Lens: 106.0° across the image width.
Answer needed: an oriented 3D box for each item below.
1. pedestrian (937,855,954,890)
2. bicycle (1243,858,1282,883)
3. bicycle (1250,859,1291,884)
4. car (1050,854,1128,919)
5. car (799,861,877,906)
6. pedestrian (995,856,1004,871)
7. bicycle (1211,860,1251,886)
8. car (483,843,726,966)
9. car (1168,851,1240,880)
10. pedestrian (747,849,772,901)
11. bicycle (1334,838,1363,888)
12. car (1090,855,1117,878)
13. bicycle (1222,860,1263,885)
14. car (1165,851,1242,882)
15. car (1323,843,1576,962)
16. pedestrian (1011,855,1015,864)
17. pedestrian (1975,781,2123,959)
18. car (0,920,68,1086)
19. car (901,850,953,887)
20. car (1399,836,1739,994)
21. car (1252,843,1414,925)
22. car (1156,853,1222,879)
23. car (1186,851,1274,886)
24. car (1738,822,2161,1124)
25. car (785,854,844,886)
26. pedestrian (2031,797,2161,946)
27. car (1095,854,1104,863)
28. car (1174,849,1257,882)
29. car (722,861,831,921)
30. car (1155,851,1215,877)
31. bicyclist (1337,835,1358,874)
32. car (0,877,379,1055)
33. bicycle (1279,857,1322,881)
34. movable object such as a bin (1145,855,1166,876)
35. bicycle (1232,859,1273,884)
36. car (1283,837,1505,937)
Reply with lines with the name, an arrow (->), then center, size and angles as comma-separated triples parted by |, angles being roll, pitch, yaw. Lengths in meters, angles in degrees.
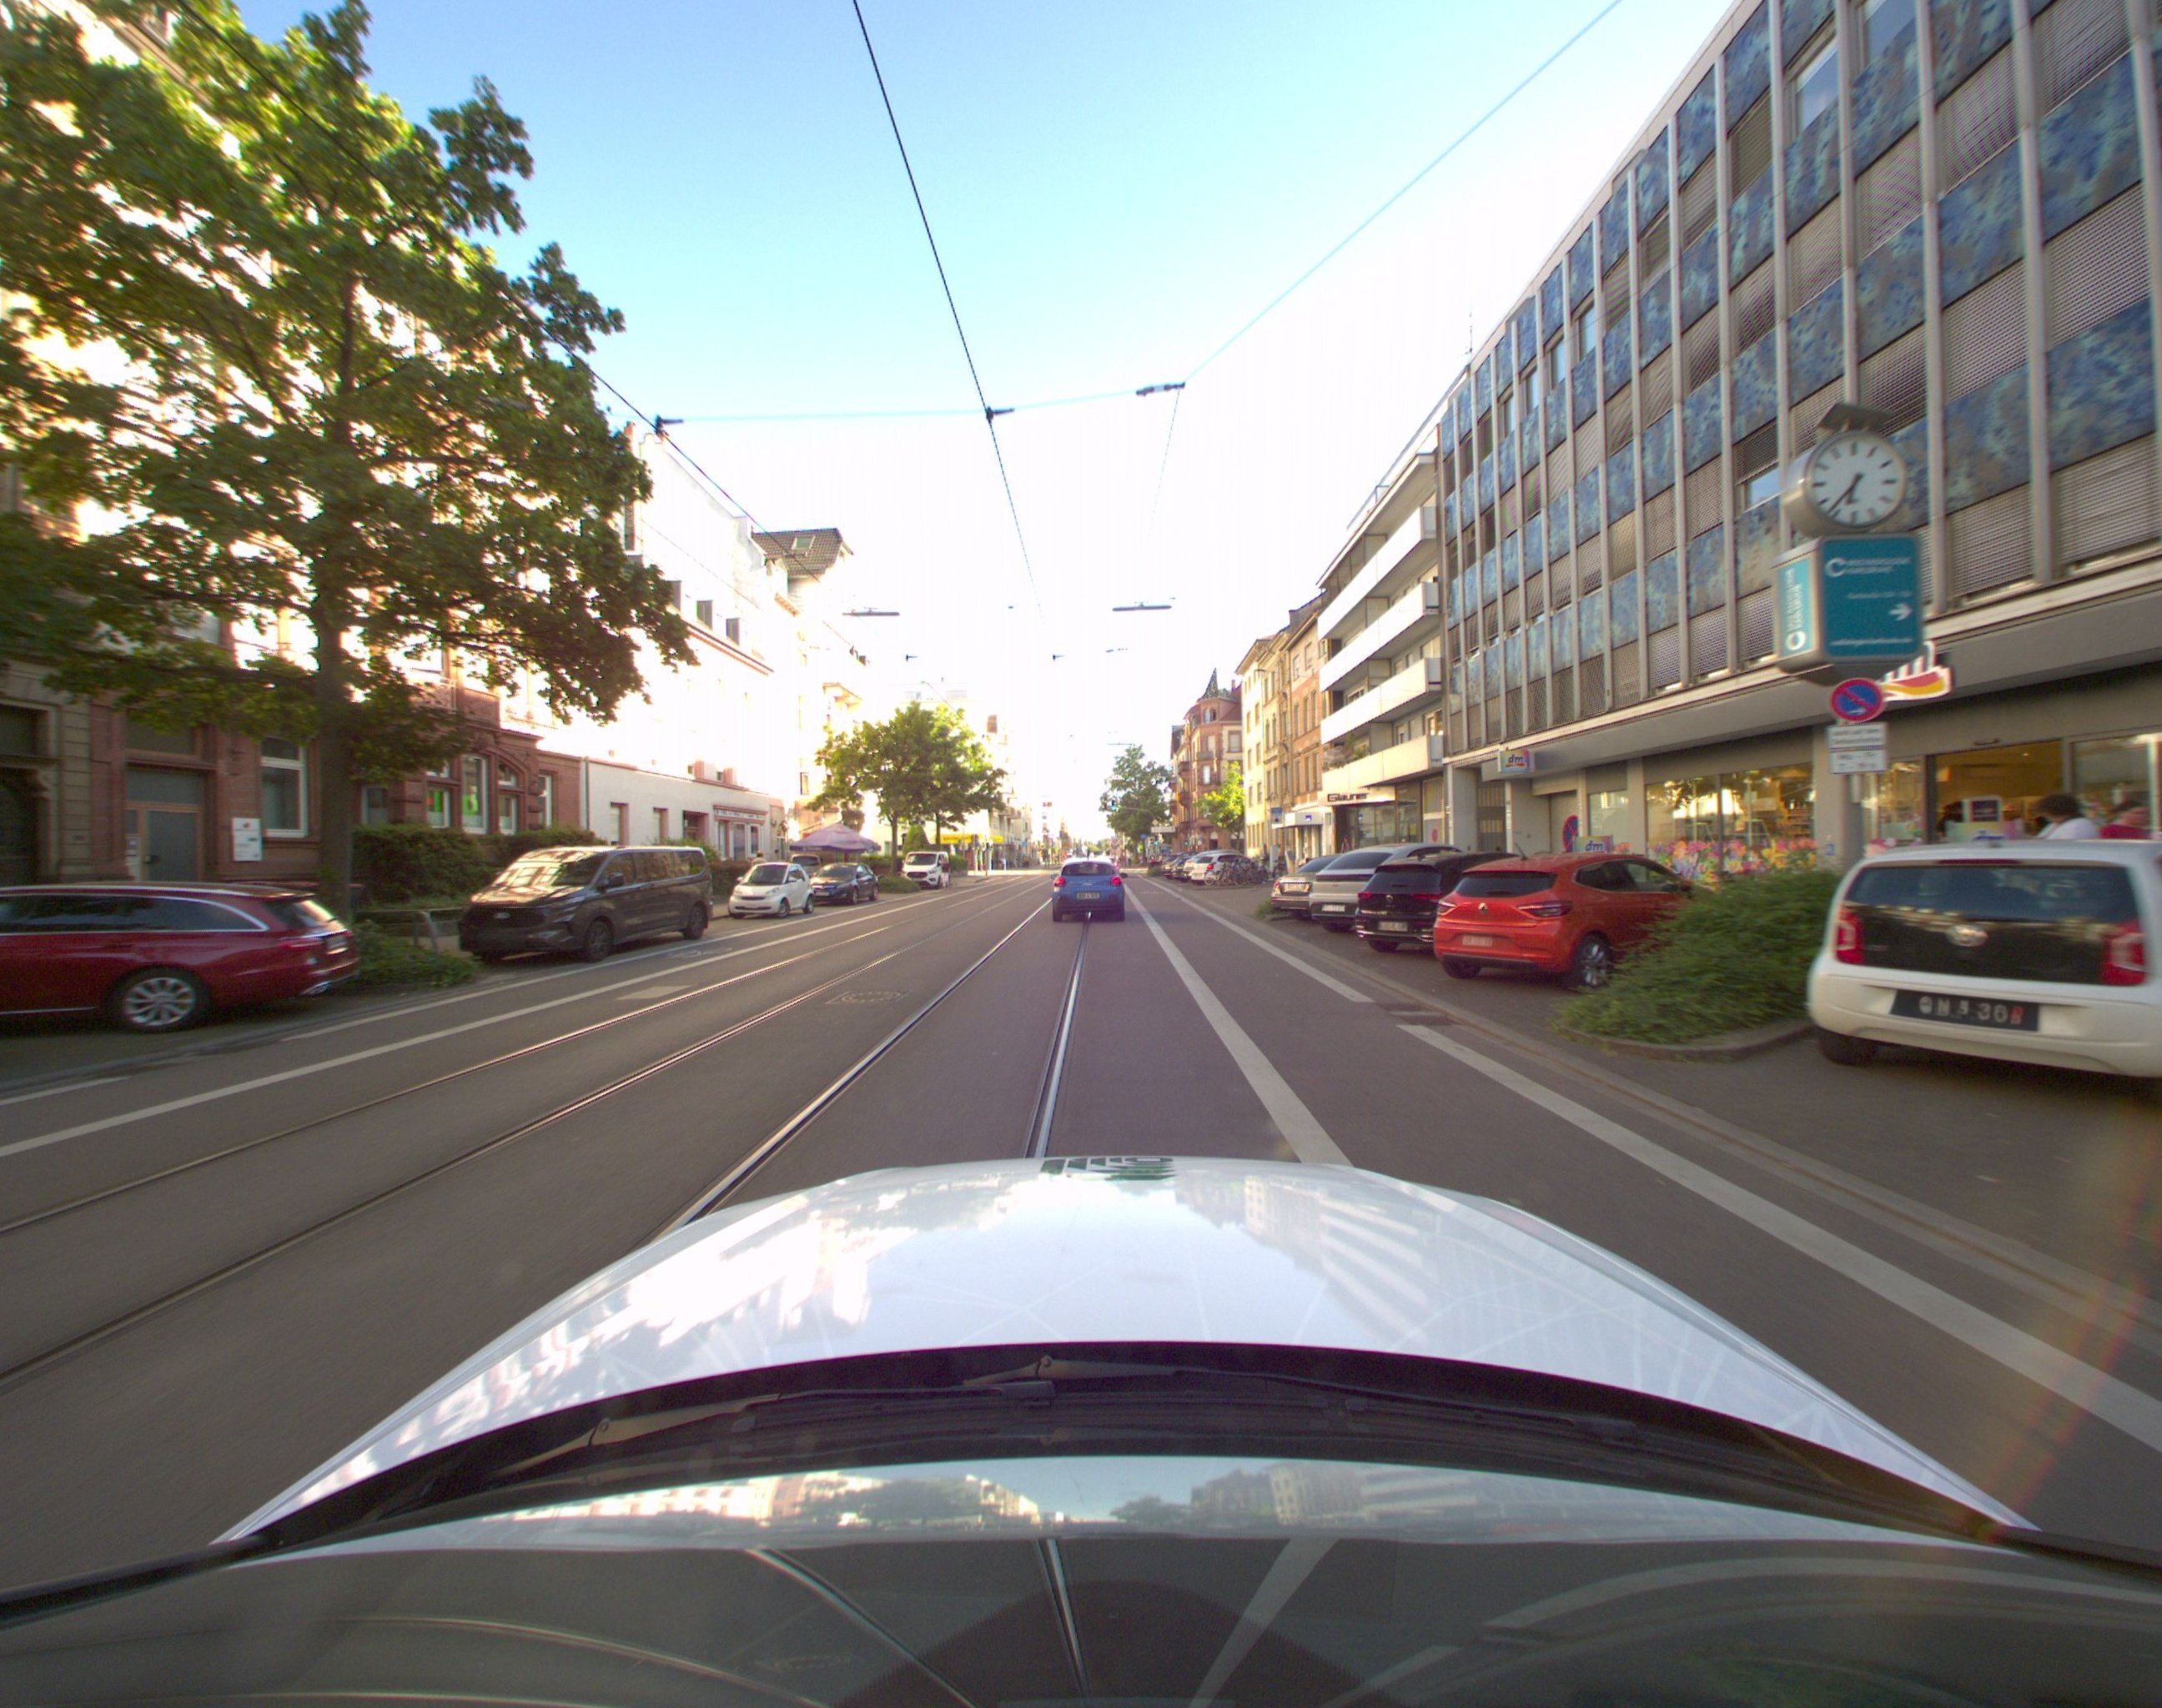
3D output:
pedestrian -> -6.906, 0.932, 41.403 | 0.732, 1.726, 0.623 | 0, -1, -23
bicycle -> 7.741, 0.704, 34.877 | 0.471, 1.047, 1.788 | 0, -1, -34
bicycle -> 8.200, 0.759, 35.291 | 0.557, 1.048, 1.787 | 0, -1, -37
car -> 0.222, 0.752, 20.238 | 1.756, 1.441, 3.557 | -1, 0, 1
car -> -8.644, 0.999, 29.324 | 1.743, 1.487, 4.038 | -1, 0, -3
pedestrian -> -9.590, 1.122, 95.554 | 0.942, 1.751, 0.699 | -1, -1, -3
bicycle -> 6.223, 0.783, 33.839 | 0.557, 1.047, 1.789 | 0, -1, -34
car -> -8.871, 0.836, 15.836 | 1.742, 1.973, 5.237 | -1, 0, -2
car -> 7.074, 0.638, 46.937 | 3.664, 1.574, 1.849 | 0, -1, -18
pedestrian -> -11.440, 0.752, 28.993 | 0.622, 1.824, 0.660 | -1, -1, 1
bicycle -> 11.324, 0.378, 34.579 | 0.724, 2.014, 2.363 | -1, -1, 7
car -> 1.627, 0.871, 57.838 | 1.866, 1.596, 4.002 | -1, 0, 2
bicycle -> 6.759, 0.766, 34.187 | 0.557, 1.047, 1.789 | 0, -1, -34
car -> 6.591, 0.651, 43.968 | 3.664, 1.574, 1.849 | 0, -1, -18
car -> 5.561, 0.631, 12.270 | 3.463, 1.555, 1.806 | 0, -1, -30
pedestrian -> -9.712, 0.800, 116.304 | 0.384, 1.216, 0.433 | -1, 0, -36
pedestrian -> 9.984, 0.160, 8.423 | 0.690, 1.756, 0.678 | -1, -1, 1
car -> -10.278, 1.211, 5.625 | 3.815, 1.265, 1.504 | 0, -1, -24
car -> -8.180, 0.738, 43.588 | 1.825, 1.848, 4.215 | -1, 0, 2
car -> 5.814, 0.590, 9.652 | 3.743, 1.521, 1.949 | 0, -1, -32
car -> 5.641, 0.610, 18.136 | 3.467, 1.640, 1.666 | 0, -1, -35
car -> 6.729, 0.756, 50.641 | 3.664, 1.534, 1.778 | 0, -1, -18
car -> 6.927, 0.645, 37.813 | 3.674, 1.574, 1.844 | 0, -1, -27
car -> 6.607, 0.588, 5.672 | 3.796, 1.487, 1.822 | 0, -1, -28
car -> -12.862, 0.739, 39.515 | 1.628, 1.469, 3.528 | -1, 0, 2
pedestrian -> 11.324, 0.186, 9.063 | 0.690, 1.588, 0.678 | -1, -1, 1
car -> 3.034, 0.739, 135.147 | 1.417, 1.432, 3.140 | -1, 0, 2
car -> 6.757, 0.576, 40.959 | 3.664, 1.574, 1.849 | 0, -1, -18
car -> -9.055, 1.045, 24.611 | 1.742, 1.618, 4.408 | -1, 0, -2
car -> 7.107, 0.705, 55.802 | 3.664, 1.715, 1.778 | 0, -1, -18
bicyclist -> 11.309, 0.031, 34.546 | 0.728, 1.623, 0.529 | -1, -1, 7
car -> -10.229, 1.098, 8.688 | 3.736, 1.622, 1.777 | 0, -1, -20
bicycle -> 9.713, 0.677, 36.102 | 1.785, 1.048, 0.558 | -1, -1, 42
movable object such as a bin -> 5.477, 0.840, 59.871 | 1.389, 1.483, 1.656 | -1, -1, 1
bicycle -> 7.271, 0.745, 34.558 | 0.557, 1.047, 1.789 | 0, -1, -34
car -> 5.879, 0.544, 15.257 | 3.743, 1.652, 2.027 | 0, -1, -32
